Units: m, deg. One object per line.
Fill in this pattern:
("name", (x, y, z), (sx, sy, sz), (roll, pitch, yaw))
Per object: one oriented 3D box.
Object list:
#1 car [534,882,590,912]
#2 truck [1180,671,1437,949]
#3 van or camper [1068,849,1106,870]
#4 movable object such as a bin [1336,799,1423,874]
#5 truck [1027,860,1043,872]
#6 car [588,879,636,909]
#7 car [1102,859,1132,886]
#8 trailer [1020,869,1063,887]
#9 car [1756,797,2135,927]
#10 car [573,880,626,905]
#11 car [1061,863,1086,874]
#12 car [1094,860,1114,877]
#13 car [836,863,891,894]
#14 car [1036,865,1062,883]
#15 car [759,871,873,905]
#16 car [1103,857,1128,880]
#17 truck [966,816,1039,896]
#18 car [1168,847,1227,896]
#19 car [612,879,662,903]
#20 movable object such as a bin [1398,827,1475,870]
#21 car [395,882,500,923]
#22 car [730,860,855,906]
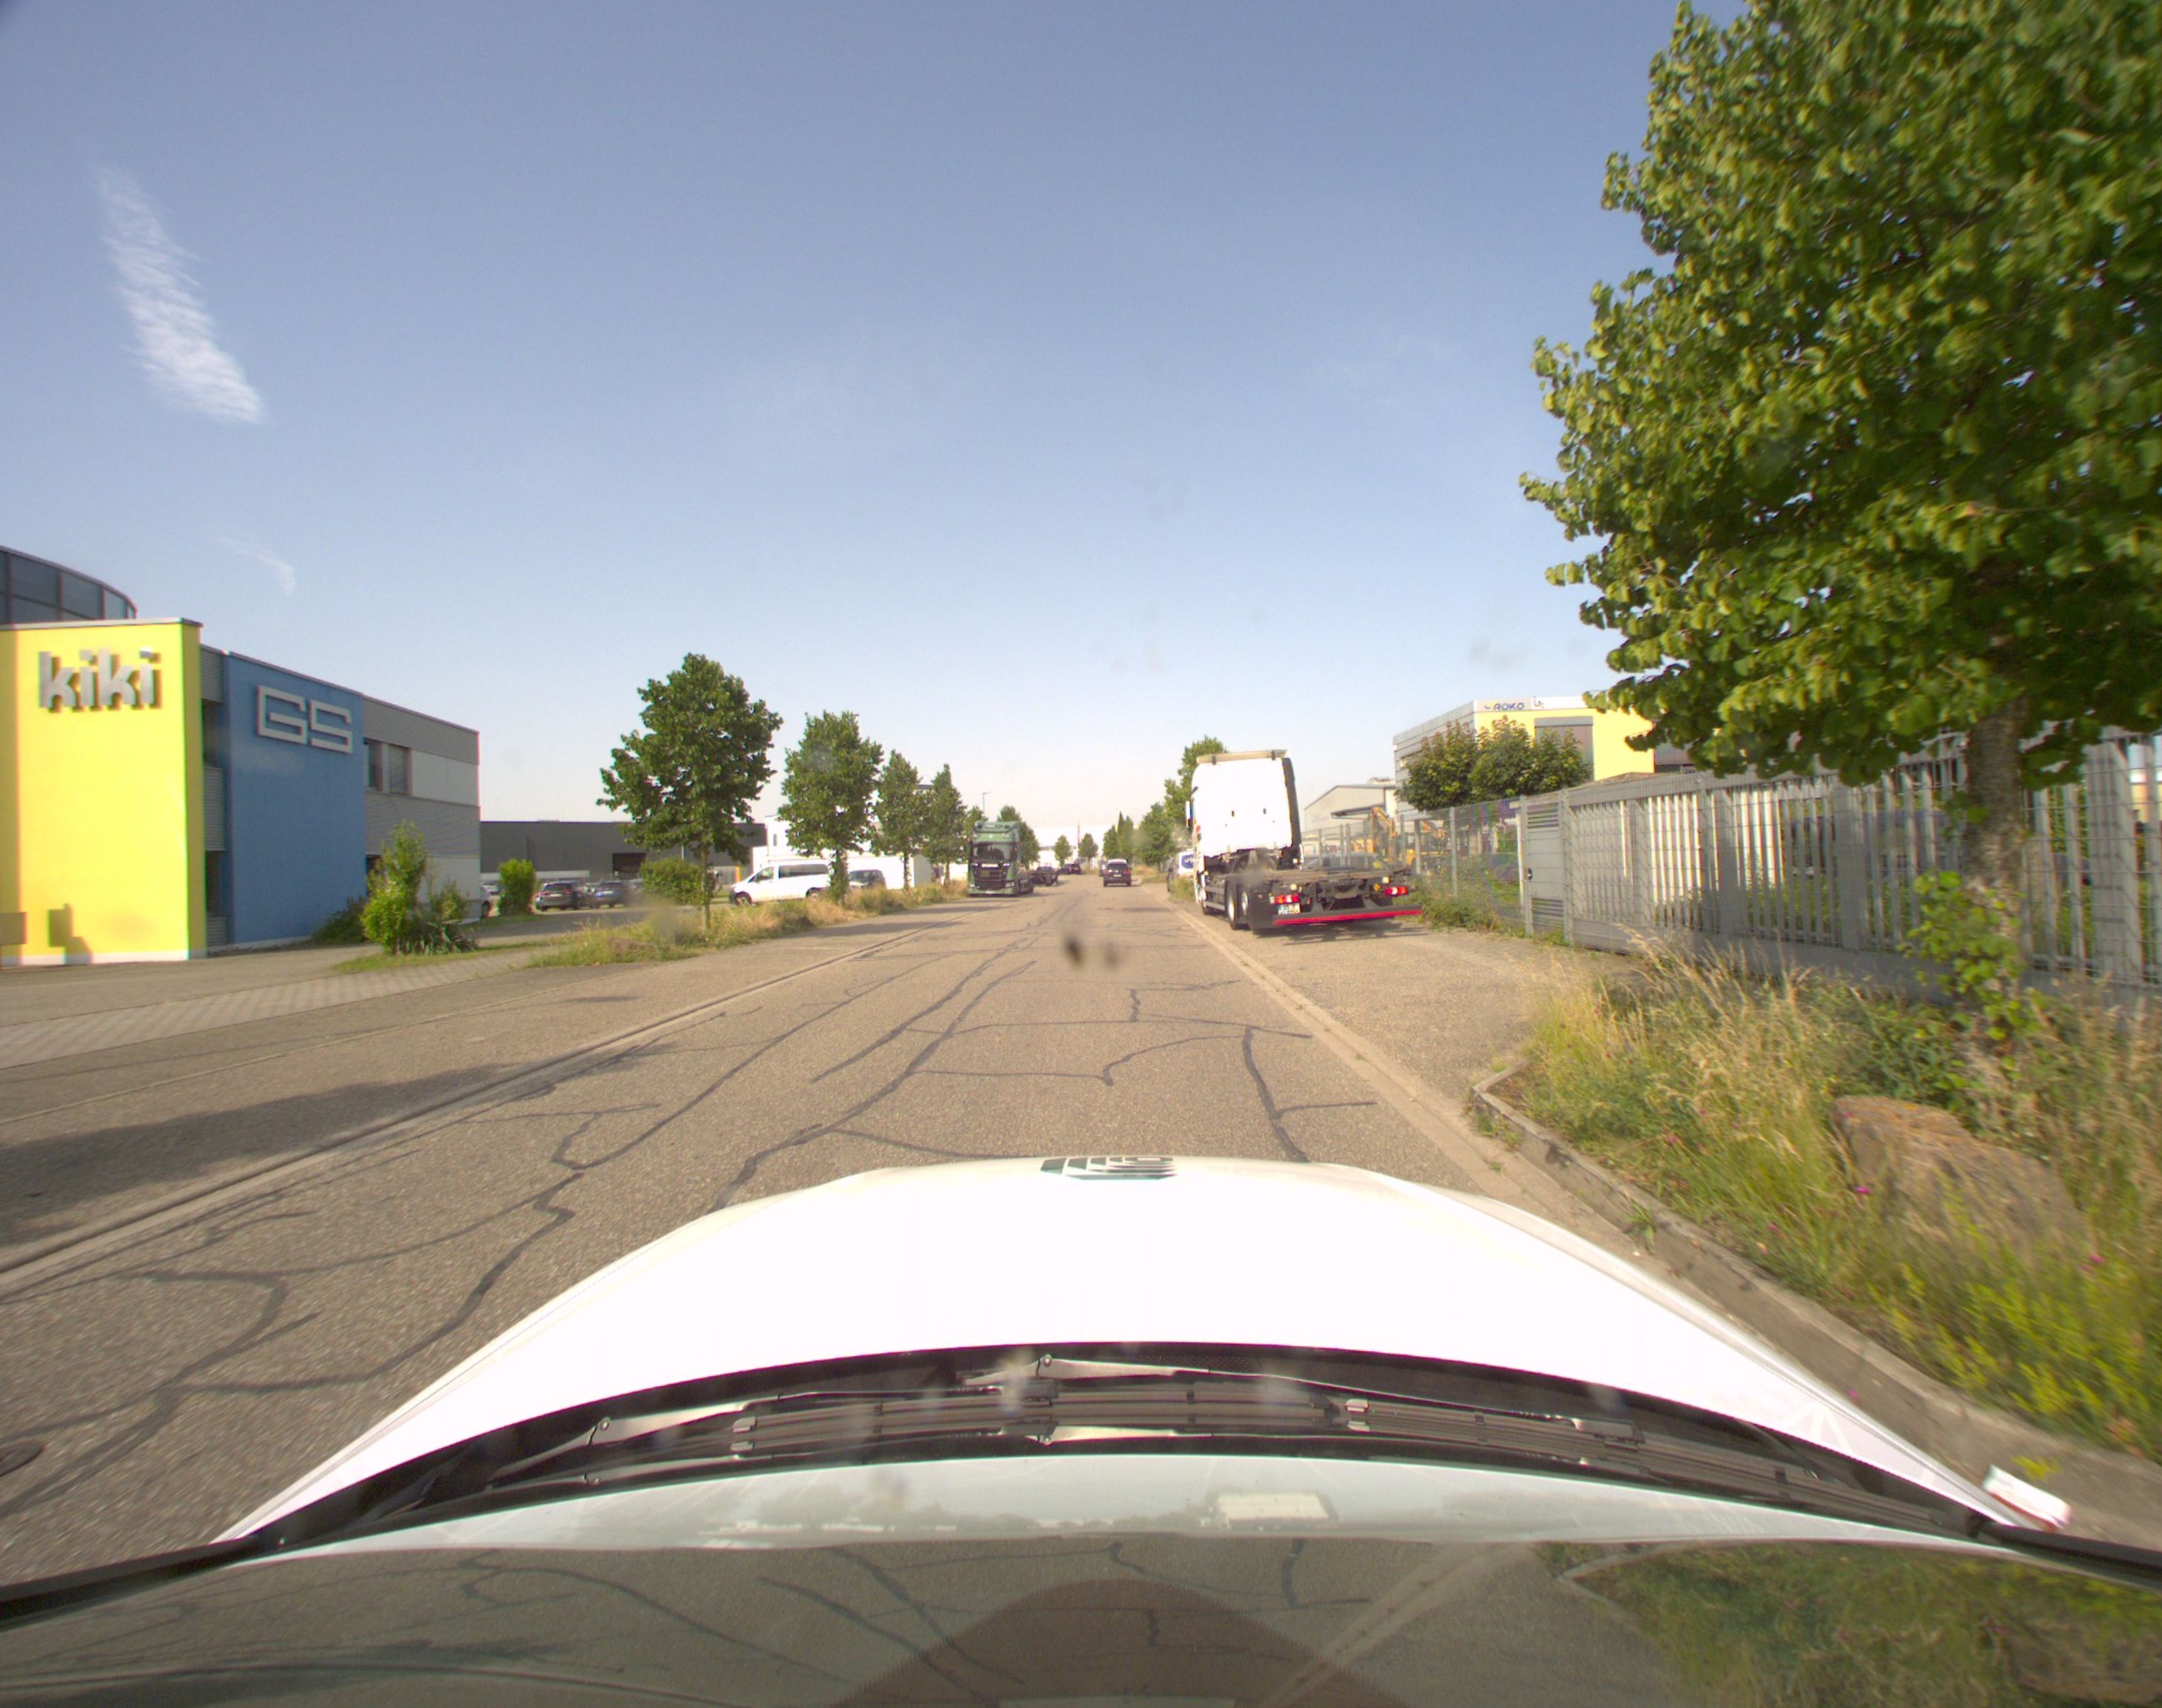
("car", (-28.054, 2.310, 44.131), (1.974, 1.486, 3.968), (-2, -1, -24))
("truck", (4.033, -0.639, 17.180), (2.735, 4.015, 9.690), (-4, 0, 2))
("van or camper", (0.892, 0.848, 121.053), (2.363, 2.848, 7.272), (-1, -1, -29))
("movable object such as a bin", (21.017, -1.160, 57.866), (3.305, 4.806, 7.674), (-2, 0, 1))
("truck", (-9.649, 2.473, 171.495), (2.440, 2.265, 8.008), (-2, -1, 3))
("car", (-25.827, 2.185, 44.943), (1.852, 1.486, 3.968), (-2, -1, -24))
("car", (2.504, 1.267, 56.538), (1.985, 1.805, 4.002), (0, -1, 2))
("trailer", (-2.981, 1.810, 63.096), (2.118, 1.232, 7.171), (0, 0, 7))
("car", (13.837, 0.124, 13.254), (4.075, 1.835, 1.912), (-2, -1, 1))
("car", (-34.829, 2.754, 58.998), (1.840, 1.613, 4.139), (-2, -1, -9))
("car", (-1.001, 1.860, 106.259), (2.000, 1.475, 3.974), (0, -1, -19))
("car", (2.451, 1.508, 86.303), (1.985, 1.805, 4.002), (0, -1, 2))
("car", (-13.294, 1.458, 50.076), (1.987, 1.686, 4.699), (-3, -1, 1))
("car", (-2.872, 1.805, 73.500), (1.985, 1.466, 4.435), (0, 0, 3))
("car", (-12.578, 1.618, 38.873), (4.704, 1.431, 2.003), (-2, -1, 5))
("car", (2.994, 1.218, 71.267), (1.987, 1.899, 4.467), (-2, -1, 1))
("truck", (-4.120, 0.200, 45.033), (2.445, 3.882, 9.811), (0, -1, 4))
("car", (4.679, 0.731, 33.239), (1.985, 1.789, 4.603), (-2, -2, 3))
("car", (-32.071, 2.636, 58.912), (1.840, 1.613, 4.139), (-2, -1, -9))
("movable object such as a bin", (25.179, -0.367, 57.987), (2.691, 2.716, 6.349), (-3, 0, 1))
("car", (-25.555, 1.915, 33.049), (1.576, 1.481, 4.503), (-2, -2, -13))
("car", (-12.706, 1.261, 36.018), (4.686, 1.836, 2.104), (-2, -1, 2))
